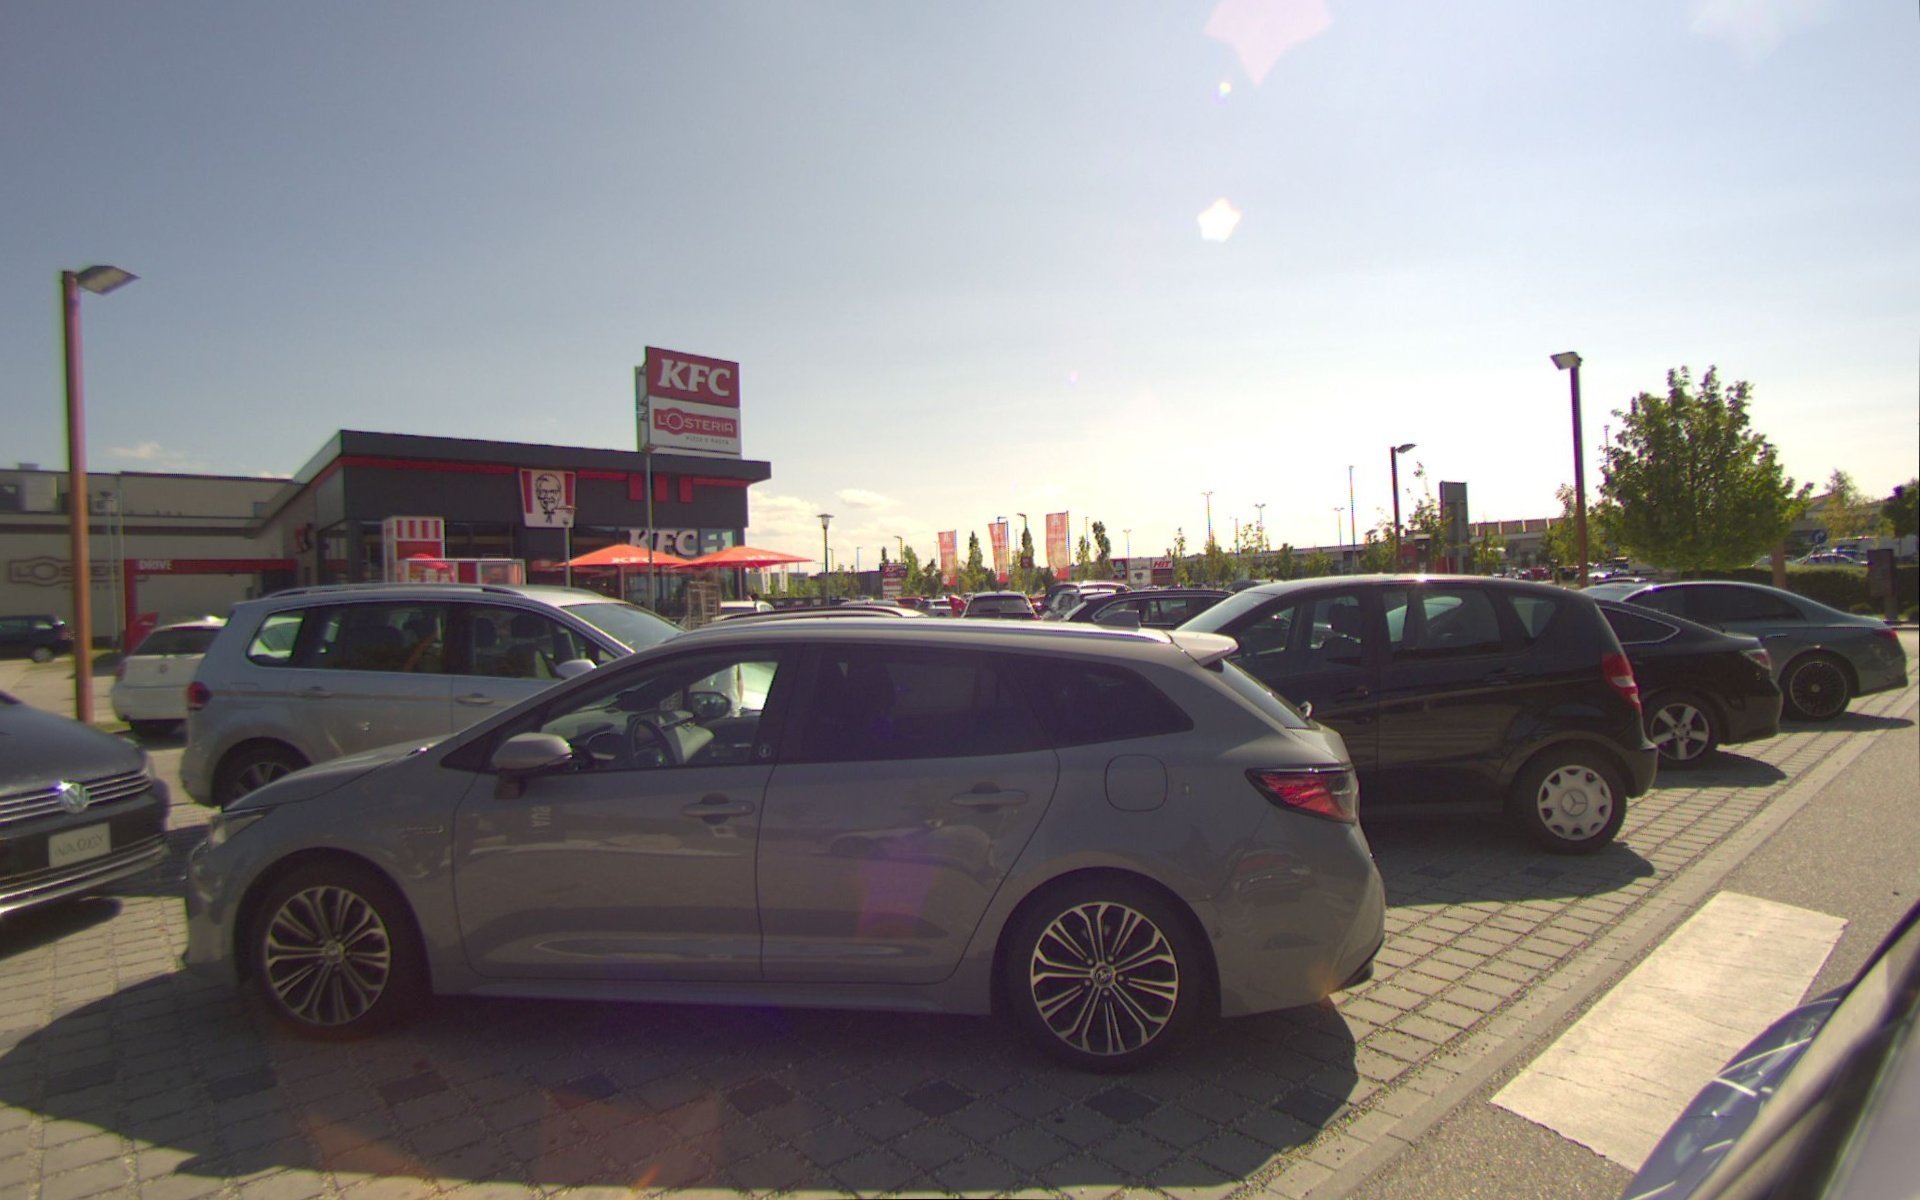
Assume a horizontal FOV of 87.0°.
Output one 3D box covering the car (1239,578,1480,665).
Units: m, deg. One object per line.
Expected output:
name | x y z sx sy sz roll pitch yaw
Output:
car | 7.348 0.382 18.941 3.836 1.444 1.704 -2 0 7

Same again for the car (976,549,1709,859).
car | 2.124 0.589 6.529 3.928 1.613 1.810 -2 0 4

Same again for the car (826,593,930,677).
car | -1.537 0.607 19.937 1.785 1.420 4.002 -2 0 -2

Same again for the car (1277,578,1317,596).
car | 31.612 -1.226 94.857 3.153 1.576 1.544 -2 0 -14

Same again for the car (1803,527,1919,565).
car | 62.891 -3.700 70.180 2.261 2.272 6.559 -2 0 -41

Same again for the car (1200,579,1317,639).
car | 8.587 0.229 29.520 1.770 1.576 4.060 -2 0 -7

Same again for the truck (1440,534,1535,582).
truck | 40.225 -3.139 77.541 2.373 3.393 7.577 -2 1 -8

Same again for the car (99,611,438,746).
car | -9.154 0.935 13.907 1.809 1.443 4.186 -2 0 -1

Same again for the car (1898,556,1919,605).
car | 42.652 -0.876 42.157 1.965 2.039 5.015 -3 1 -40

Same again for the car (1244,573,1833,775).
car | 4.743 0.588 8.851 4.003 1.467 1.826 -2 0 5

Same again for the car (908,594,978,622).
car | -0.985 0.479 58.654 3.683 1.472 1.687 -2 0 -34

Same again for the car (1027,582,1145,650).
car | 3.094 0.369 25.750 1.742 1.530 4.359 -2 0 -10

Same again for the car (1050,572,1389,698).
car | 3.507 0.467 14.441 4.338 1.530 1.981 -2 0 5

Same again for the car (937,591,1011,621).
car | 0.768 0.314 54.717 3.683 1.472 1.687 -2 0 -34

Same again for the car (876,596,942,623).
car | -3.169 0.578 62.875 3.683 1.530 1.687 -2 0 -34

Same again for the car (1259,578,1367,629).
car | 11.153 0.092 32.300 1.762 1.440 4.089 -2 0 -3

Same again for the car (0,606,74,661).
car | -31.713 1.137 32.894 4.313 1.706 1.637 -2 0 -44

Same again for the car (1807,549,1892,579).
car | 56.987 -2.297 64.862 1.864 1.749 3.988 -2 0 -45

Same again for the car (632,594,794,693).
car | -4.247 0.675 18.133 1.877 1.490 4.473 -2 0 -1

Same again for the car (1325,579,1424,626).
car | 14.176 0.070 34.808 1.878 1.440 3.774 -2 0 2

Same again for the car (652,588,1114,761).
car | -0.650 0.651 9.674 4.009 1.426 1.792 -1 0 4

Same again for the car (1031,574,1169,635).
car | 4.588 0.119 32.812 4.291 1.772 2.069 -2 0 -41

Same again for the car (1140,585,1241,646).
car | 6.032 0.360 27.044 1.680 1.428 4.680 -2 0 1

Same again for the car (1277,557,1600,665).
car | 7.725 0.170 16.729 4.338 1.530 1.981 -2 0 5

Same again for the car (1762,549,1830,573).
car | 67.081 -3.127 81.268 4.169 1.749 1.897 -2 0 -10

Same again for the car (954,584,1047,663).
car | 0.821 0.459 22.060 1.787 1.508 3.999 -2 0 1

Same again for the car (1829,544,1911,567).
car | 61.021 -2.957 67.885 1.637 1.359 3.900 -2 0 -41

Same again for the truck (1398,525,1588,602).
truck | 30.338 -1.977 58.104 3.152 3.915 9.123 -2 0 -37

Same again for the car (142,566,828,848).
car | -3.082 0.671 7.061 3.995 1.660 1.746 -2 0 5

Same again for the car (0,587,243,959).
car | -6.049 0.764 4.782 4.117 1.556 1.893 -1 0 6

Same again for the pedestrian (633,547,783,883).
pedestrian | -1.371 0.598 5.576 0.554 1.734 0.608 -2 0 12

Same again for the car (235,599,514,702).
car | -10.380 0.869 18.100 4.014 1.596 1.755 -2 0 5

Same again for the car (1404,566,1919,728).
car | 7.647 0.489 11.336 4.462 1.530 1.885 -2 0 5

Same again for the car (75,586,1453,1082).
car | -0.728 0.697 4.179 4.582 1.465 1.832 0 0 7

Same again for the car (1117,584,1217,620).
car | 8.993 0.075 43.868 4.076 1.416 1.889 -2 0 -34

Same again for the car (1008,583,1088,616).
car | 4.350 -0.026 49.968 3.683 1.472 1.687 -2 0 -34
